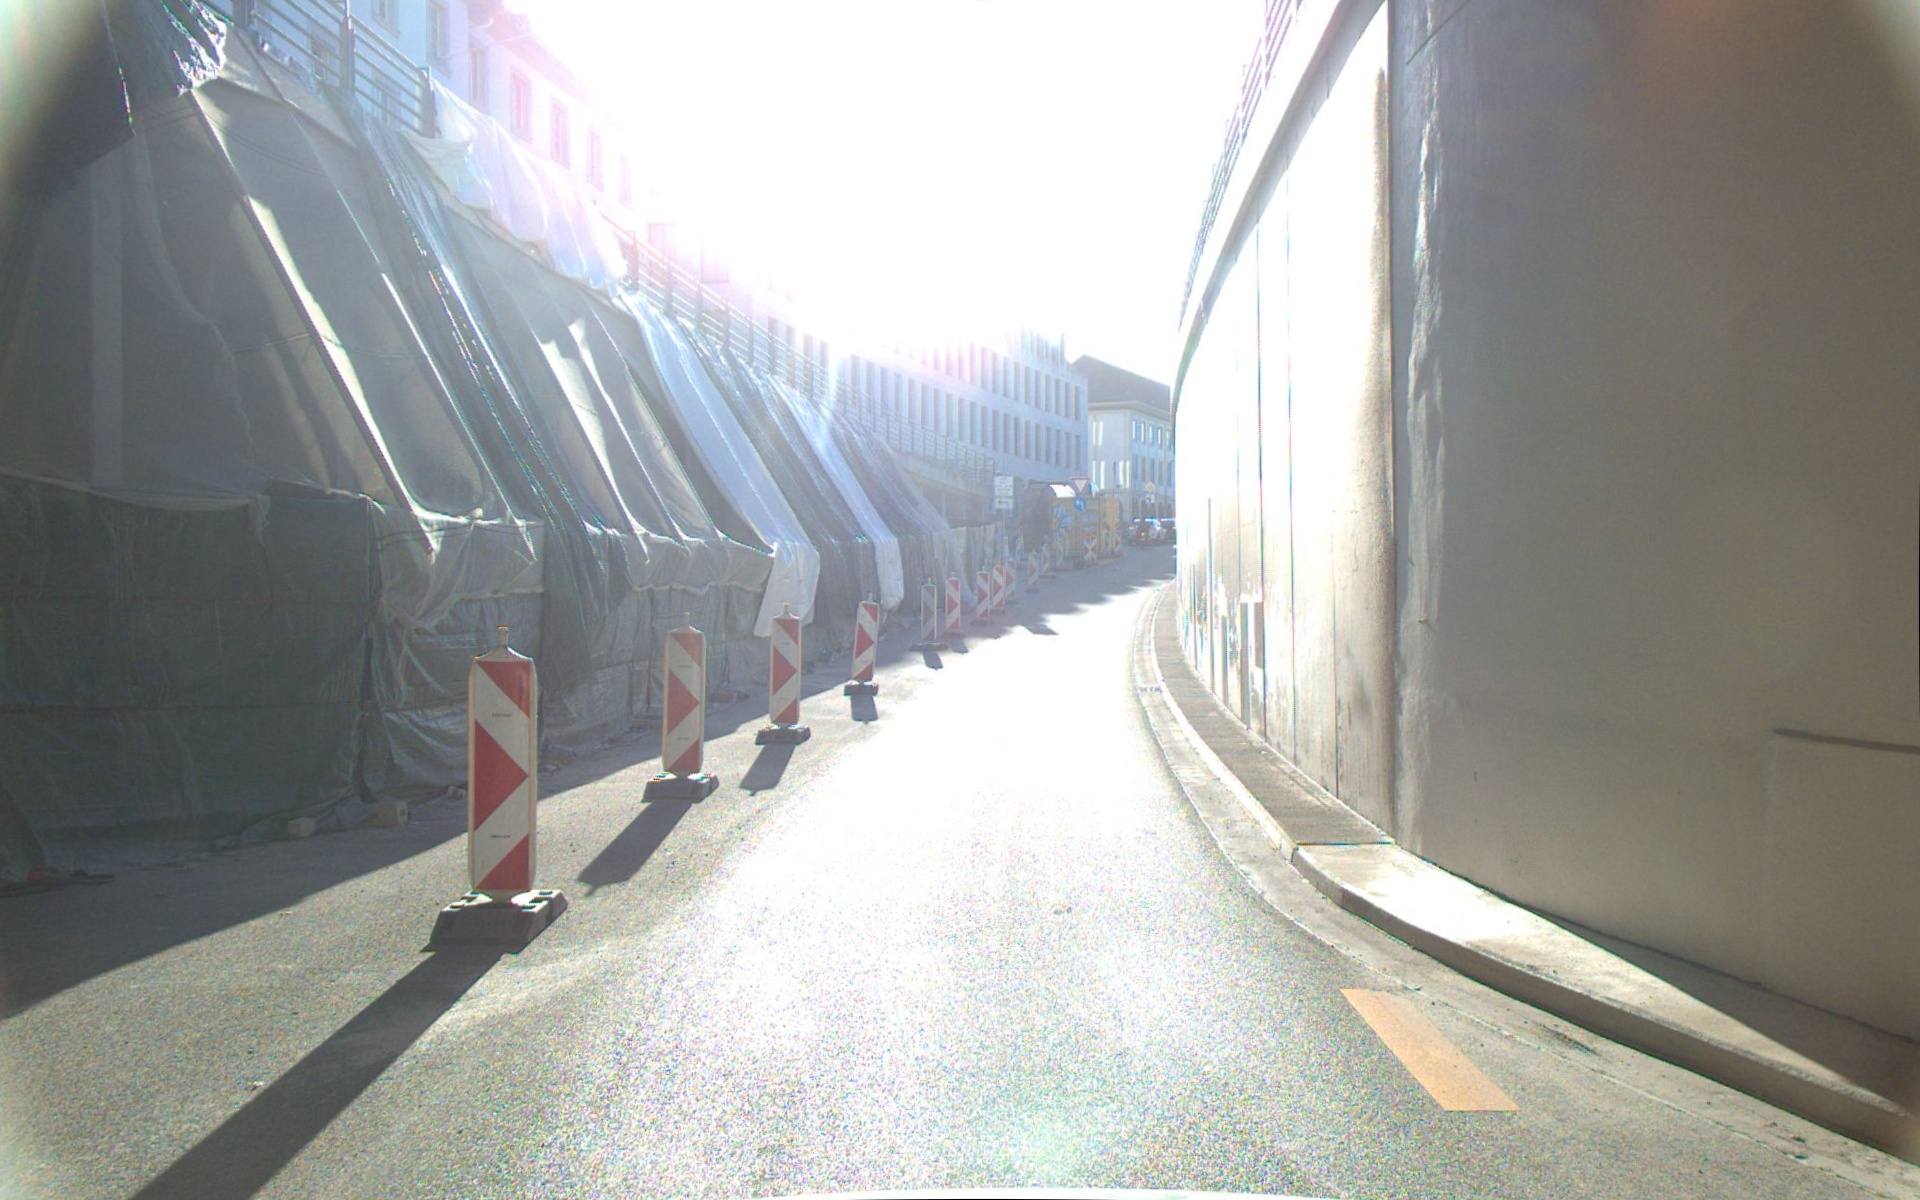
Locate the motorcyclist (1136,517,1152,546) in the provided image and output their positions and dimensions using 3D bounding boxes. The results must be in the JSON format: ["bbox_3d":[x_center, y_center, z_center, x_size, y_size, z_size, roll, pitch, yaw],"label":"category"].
[{"bbox_3d":[9.904,-3.683,89.045,0.787,1.530,0.777,0,-1,14],"label":"motorcyclist"}]

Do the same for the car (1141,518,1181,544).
[{"bbox_3d":[12.455,-4.253,102.117,1.782,1.560,4.003,1,2,17],"label":"car"}]

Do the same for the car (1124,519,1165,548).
[{"bbox_3d":[10.733,-3.877,95.982,1.738,1.632,4.004,1,2,16],"label":"car"}]

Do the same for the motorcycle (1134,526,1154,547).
[{"bbox_3d":[9.917,-3.420,89.121,0.755,1.010,2.185,0,0,14],"label":"motorcycle"}]
